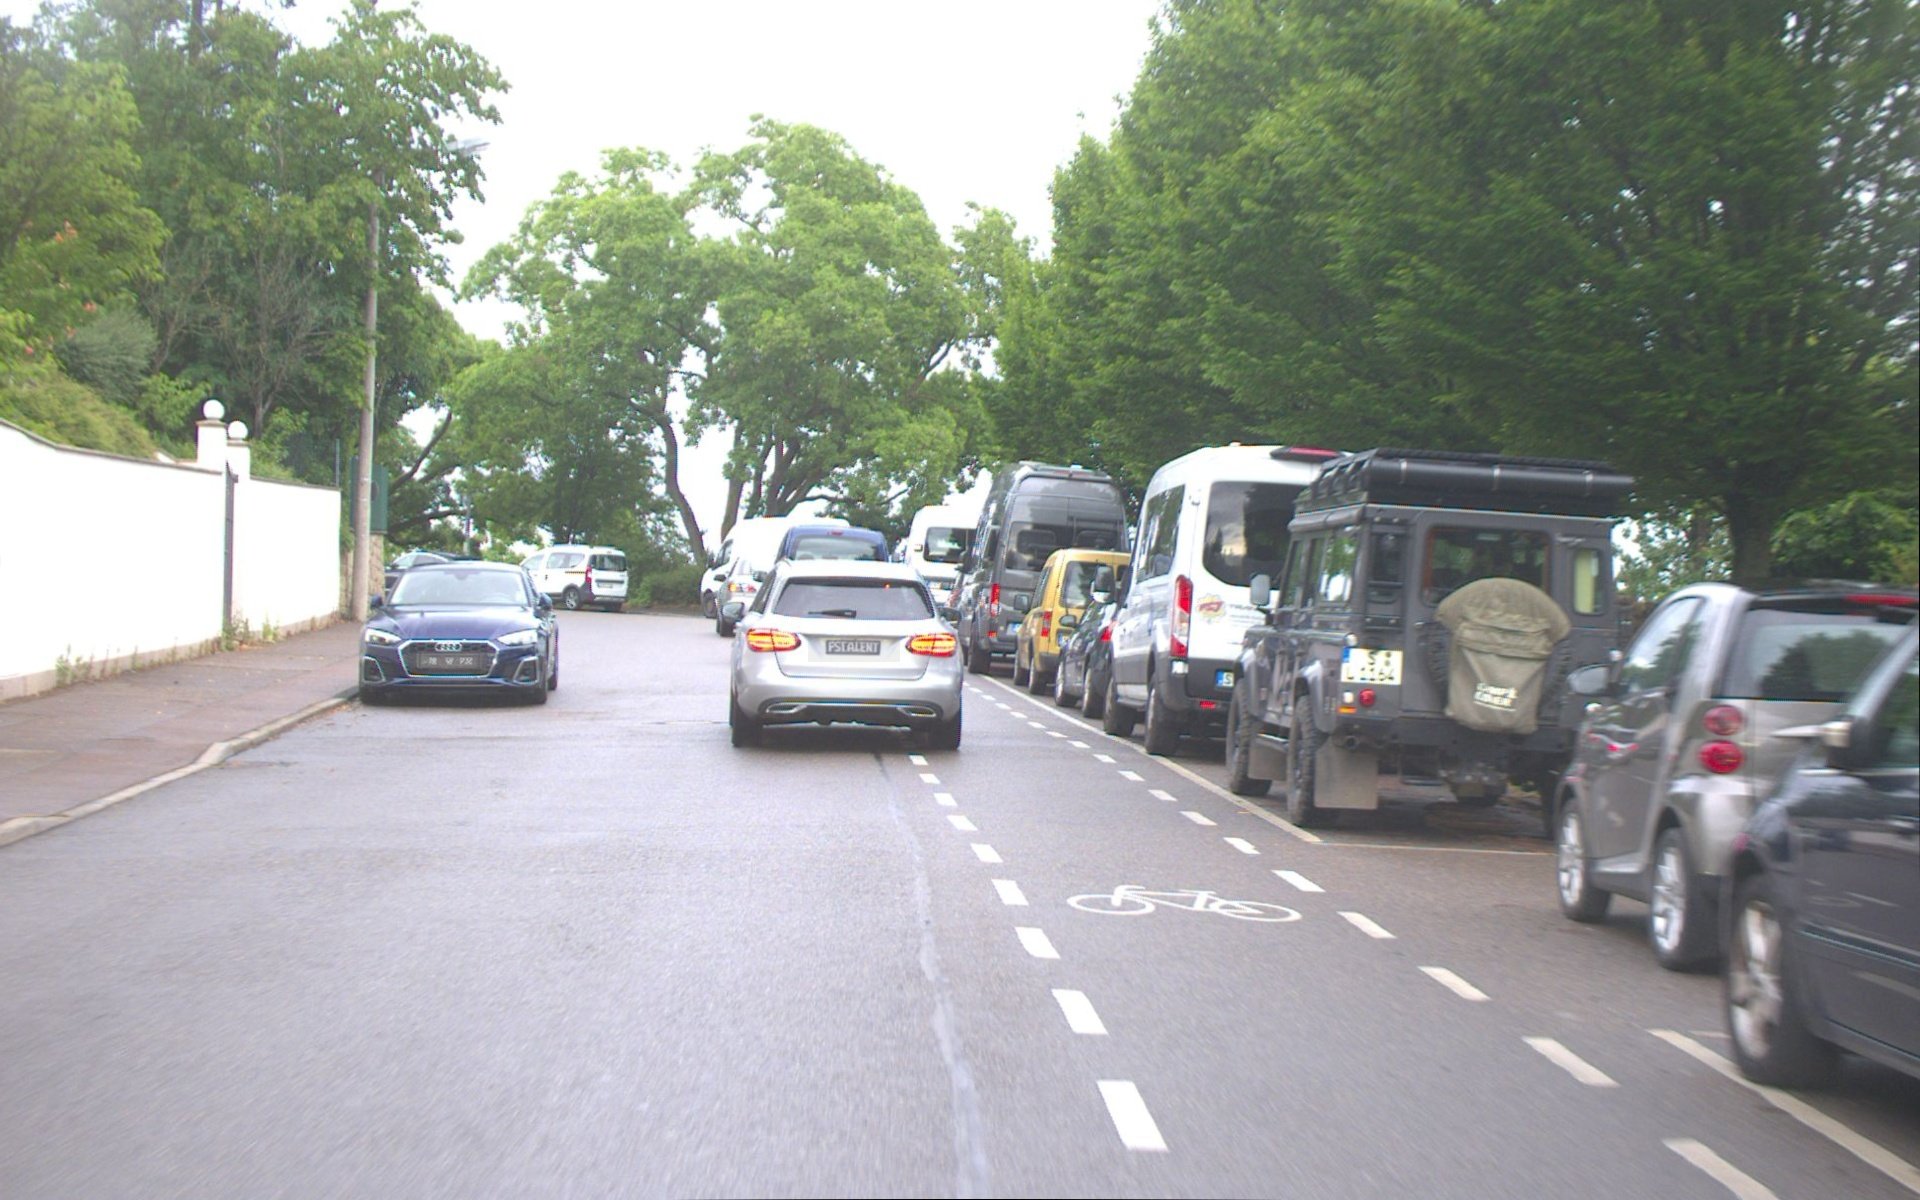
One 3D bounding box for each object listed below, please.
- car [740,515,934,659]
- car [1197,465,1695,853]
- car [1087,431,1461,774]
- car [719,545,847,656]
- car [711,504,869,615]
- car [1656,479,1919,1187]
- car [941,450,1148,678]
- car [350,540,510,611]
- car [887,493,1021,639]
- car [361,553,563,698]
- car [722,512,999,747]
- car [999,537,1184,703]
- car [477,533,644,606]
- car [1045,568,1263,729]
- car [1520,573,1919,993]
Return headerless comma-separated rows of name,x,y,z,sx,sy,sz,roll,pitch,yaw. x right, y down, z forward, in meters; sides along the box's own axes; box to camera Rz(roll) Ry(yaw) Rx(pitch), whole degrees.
car,-1.685,-0.160,45.610,1.993,1.702,4.001,4,-1,-9
car,2.888,0.311,21.695,1.993,2.045,5.122,3,0,-4
car,2.542,-0.011,29.615,2.173,2.484,6.034,5,0,-3
car,-2.973,0.026,58.504,1.993,1.702,4.000,4,-1,-2
car,-4.355,-1.058,87.460,2.125,2.518,4.497,4,1,-28
car,3.319,0.621,8.772,1.780,1.777,4.680,3,1,-4
car,1.106,-0.520,48.605,2.124,2.877,5.770,4,1,-5
car,-15.524,-0.725,100.610,4.666,1.692,1.965,5,1,41
car,-0.151,-0.648,64.481,2.064,2.486,4.760,4,1,-3
car,-5.039,0.216,35.238,1.748,1.353,4.426,1,1,-4
car,-0.886,0.193,27.750,2.025,1.702,4.216,1,1,-4
car,1.567,0.207,42.489,1.727,1.779,4.276,6,0,-3
car,-11.297,-0.867,97.100,4.492,1.692,1.966,5,1,37
car,2.011,0.468,36.827,1.671,1.453,4.224,6,0,-4
car,3.503,0.702,14.559,1.596,1.553,2.955,3,0,-3
